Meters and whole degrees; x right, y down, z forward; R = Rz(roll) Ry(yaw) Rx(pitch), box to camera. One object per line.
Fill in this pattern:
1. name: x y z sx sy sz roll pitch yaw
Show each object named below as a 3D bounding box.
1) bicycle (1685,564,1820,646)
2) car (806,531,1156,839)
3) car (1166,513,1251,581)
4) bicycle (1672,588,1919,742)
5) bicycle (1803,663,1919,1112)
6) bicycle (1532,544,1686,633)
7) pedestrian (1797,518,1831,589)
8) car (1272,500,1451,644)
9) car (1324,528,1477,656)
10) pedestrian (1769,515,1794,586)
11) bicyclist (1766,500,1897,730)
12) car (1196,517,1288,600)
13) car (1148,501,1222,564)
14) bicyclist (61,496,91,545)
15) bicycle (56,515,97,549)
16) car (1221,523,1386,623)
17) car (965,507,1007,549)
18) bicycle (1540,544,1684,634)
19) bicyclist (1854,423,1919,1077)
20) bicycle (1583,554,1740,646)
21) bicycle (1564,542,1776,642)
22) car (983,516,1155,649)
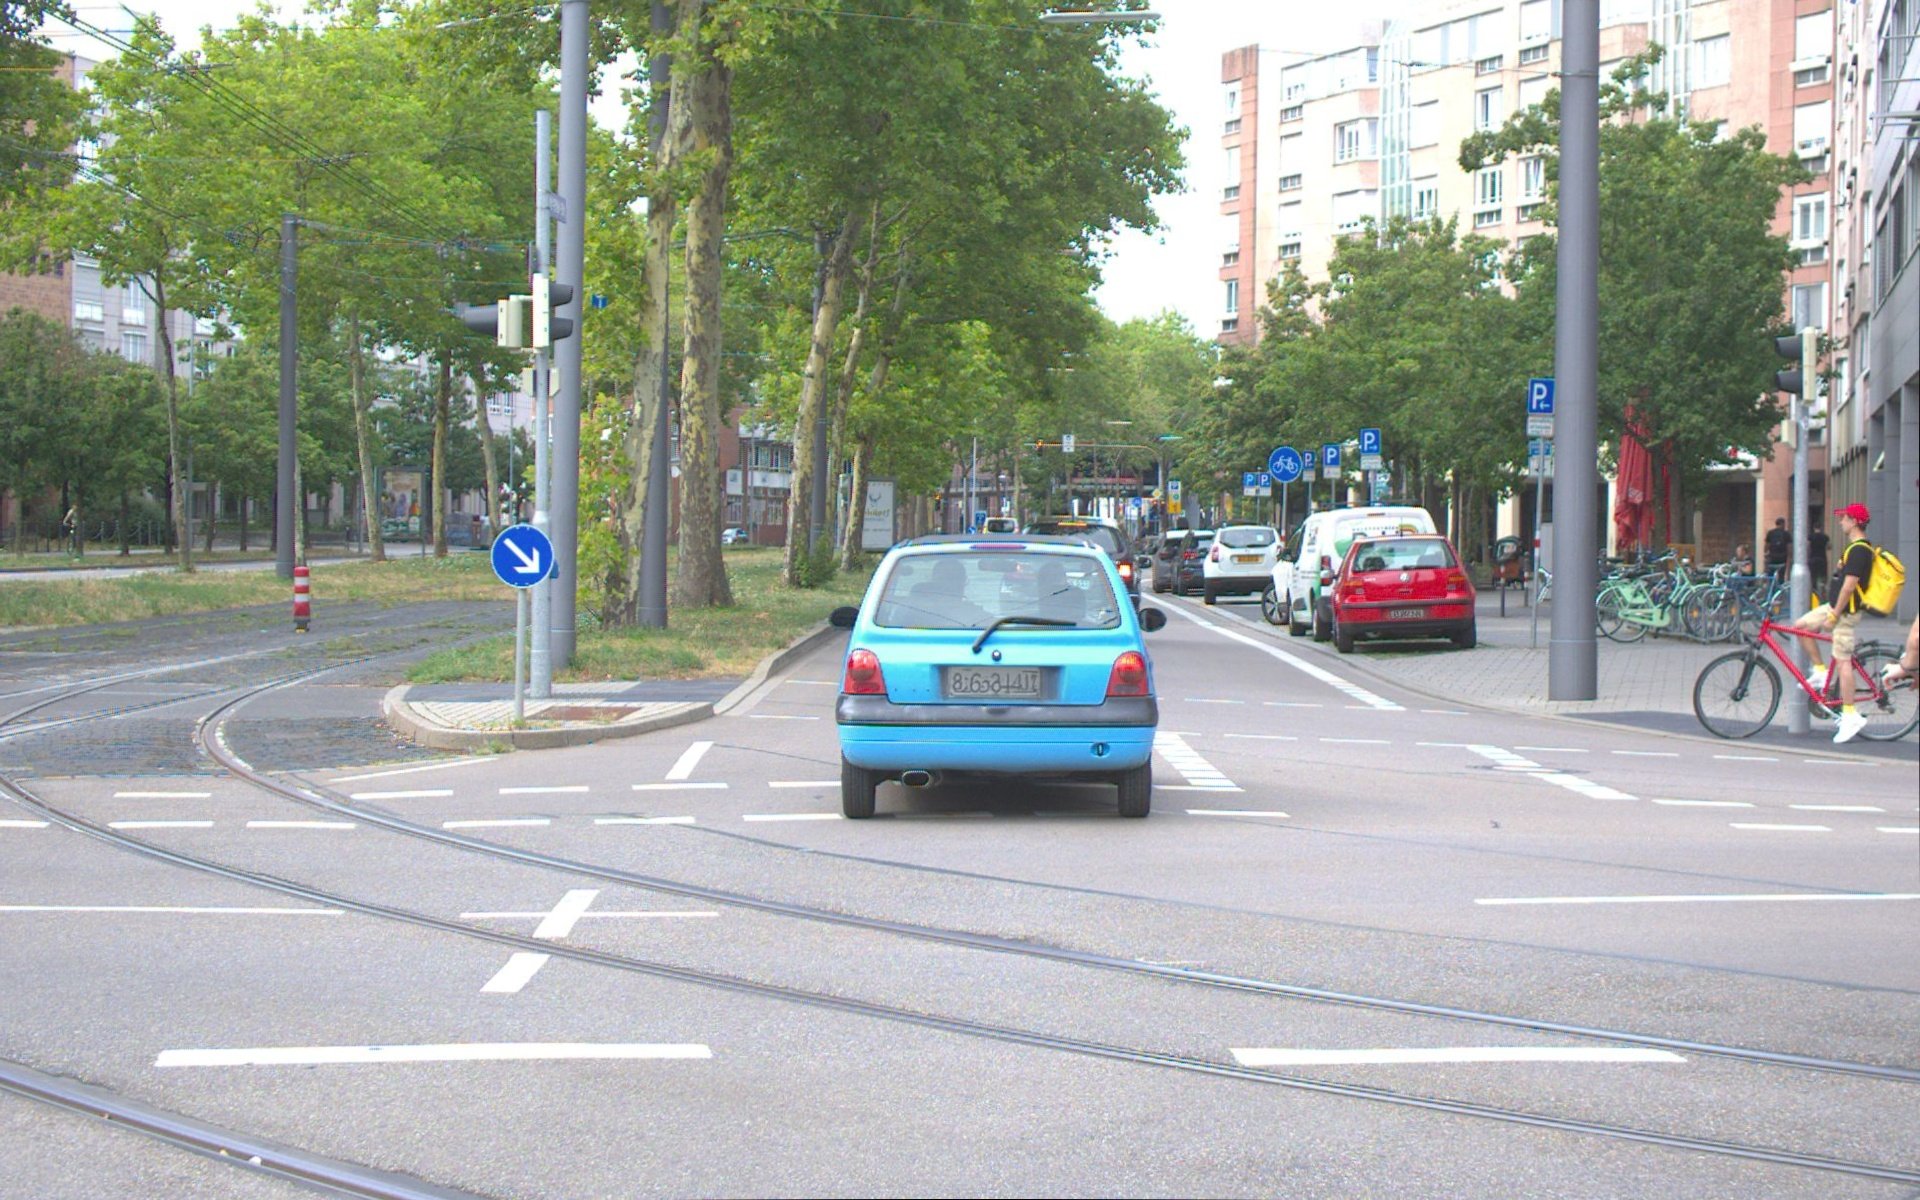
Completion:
1. bicycle: 9.798 0.061 42.531 1.558 0.984 0.423 0 2 -3
2. car: 0.157 0.369 18.406 1.640 1.381 3.843 2 2 2
3. car: 5.876 -1.278 81.645 1.715 1.513 4.204 -1 2 0
4. bicycle: 6.609 0.500 27.022 1.900 1.135 0.726 1 2 19
5. bicycle: 2.895 0.800 9.629 0.594 1.135 2.091 0 2 1
6. bicycle: 9.001 -0.165 47.741 2.056 1.193 0.479 1 2 9
7. pedestrian: 18.841 -1.036 75.840 0.710 1.550 0.798 1 2 14
8. car: 5.560 -0.443 48.095 1.826 1.858 4.649 -1 2 -1
9. car: 5.505 -0.137 43.366 1.723 1.427 4.253 -1 2 5
10. pedestrian: 18.147 -1.094 75.960 0.512 1.550 0.473 1 2 14
11. bicyclist: 6.830 0.102 26.929 0.914 1.758 0.719 1 2 19
12. car: 5.902 -0.894 72.147 1.861 1.647 4.163 0 2 4
13. car: 5.650 -1.713 86.784 1.740 1.513 4.401 0 2 2
14. bicyclist: -29.107 -2.622 113.262 0.664 1.585 0.984 1 2 4
15. bicycle: -29.117 -2.236 113.269 0.668 1.080 2.093 1 2 4
16. car: 5.693 -0.484 57.484 1.994 1.597 4.584 1 1 -4
17. car: 1.270 -3.526 167.661 1.932 1.919 4.956 1 2 1
18. bicycle: 8.959 -0.151 47.254 1.909 1.193 0.479 1 2 9
19. bicyclist: 2.893 0.397 9.475 0.589 1.762 1.035 0 2 1
20. bicycle: 8.763 -0.005 42.957 1.848 1.135 0.493 0 2 -5
21. bicycle: 9.343 -0.109 45.314 2.632 1.254 0.655 1 2 2
22. car: 1.464 -0.267 44.548 1.775 1.571 4.304 -1 2 8
